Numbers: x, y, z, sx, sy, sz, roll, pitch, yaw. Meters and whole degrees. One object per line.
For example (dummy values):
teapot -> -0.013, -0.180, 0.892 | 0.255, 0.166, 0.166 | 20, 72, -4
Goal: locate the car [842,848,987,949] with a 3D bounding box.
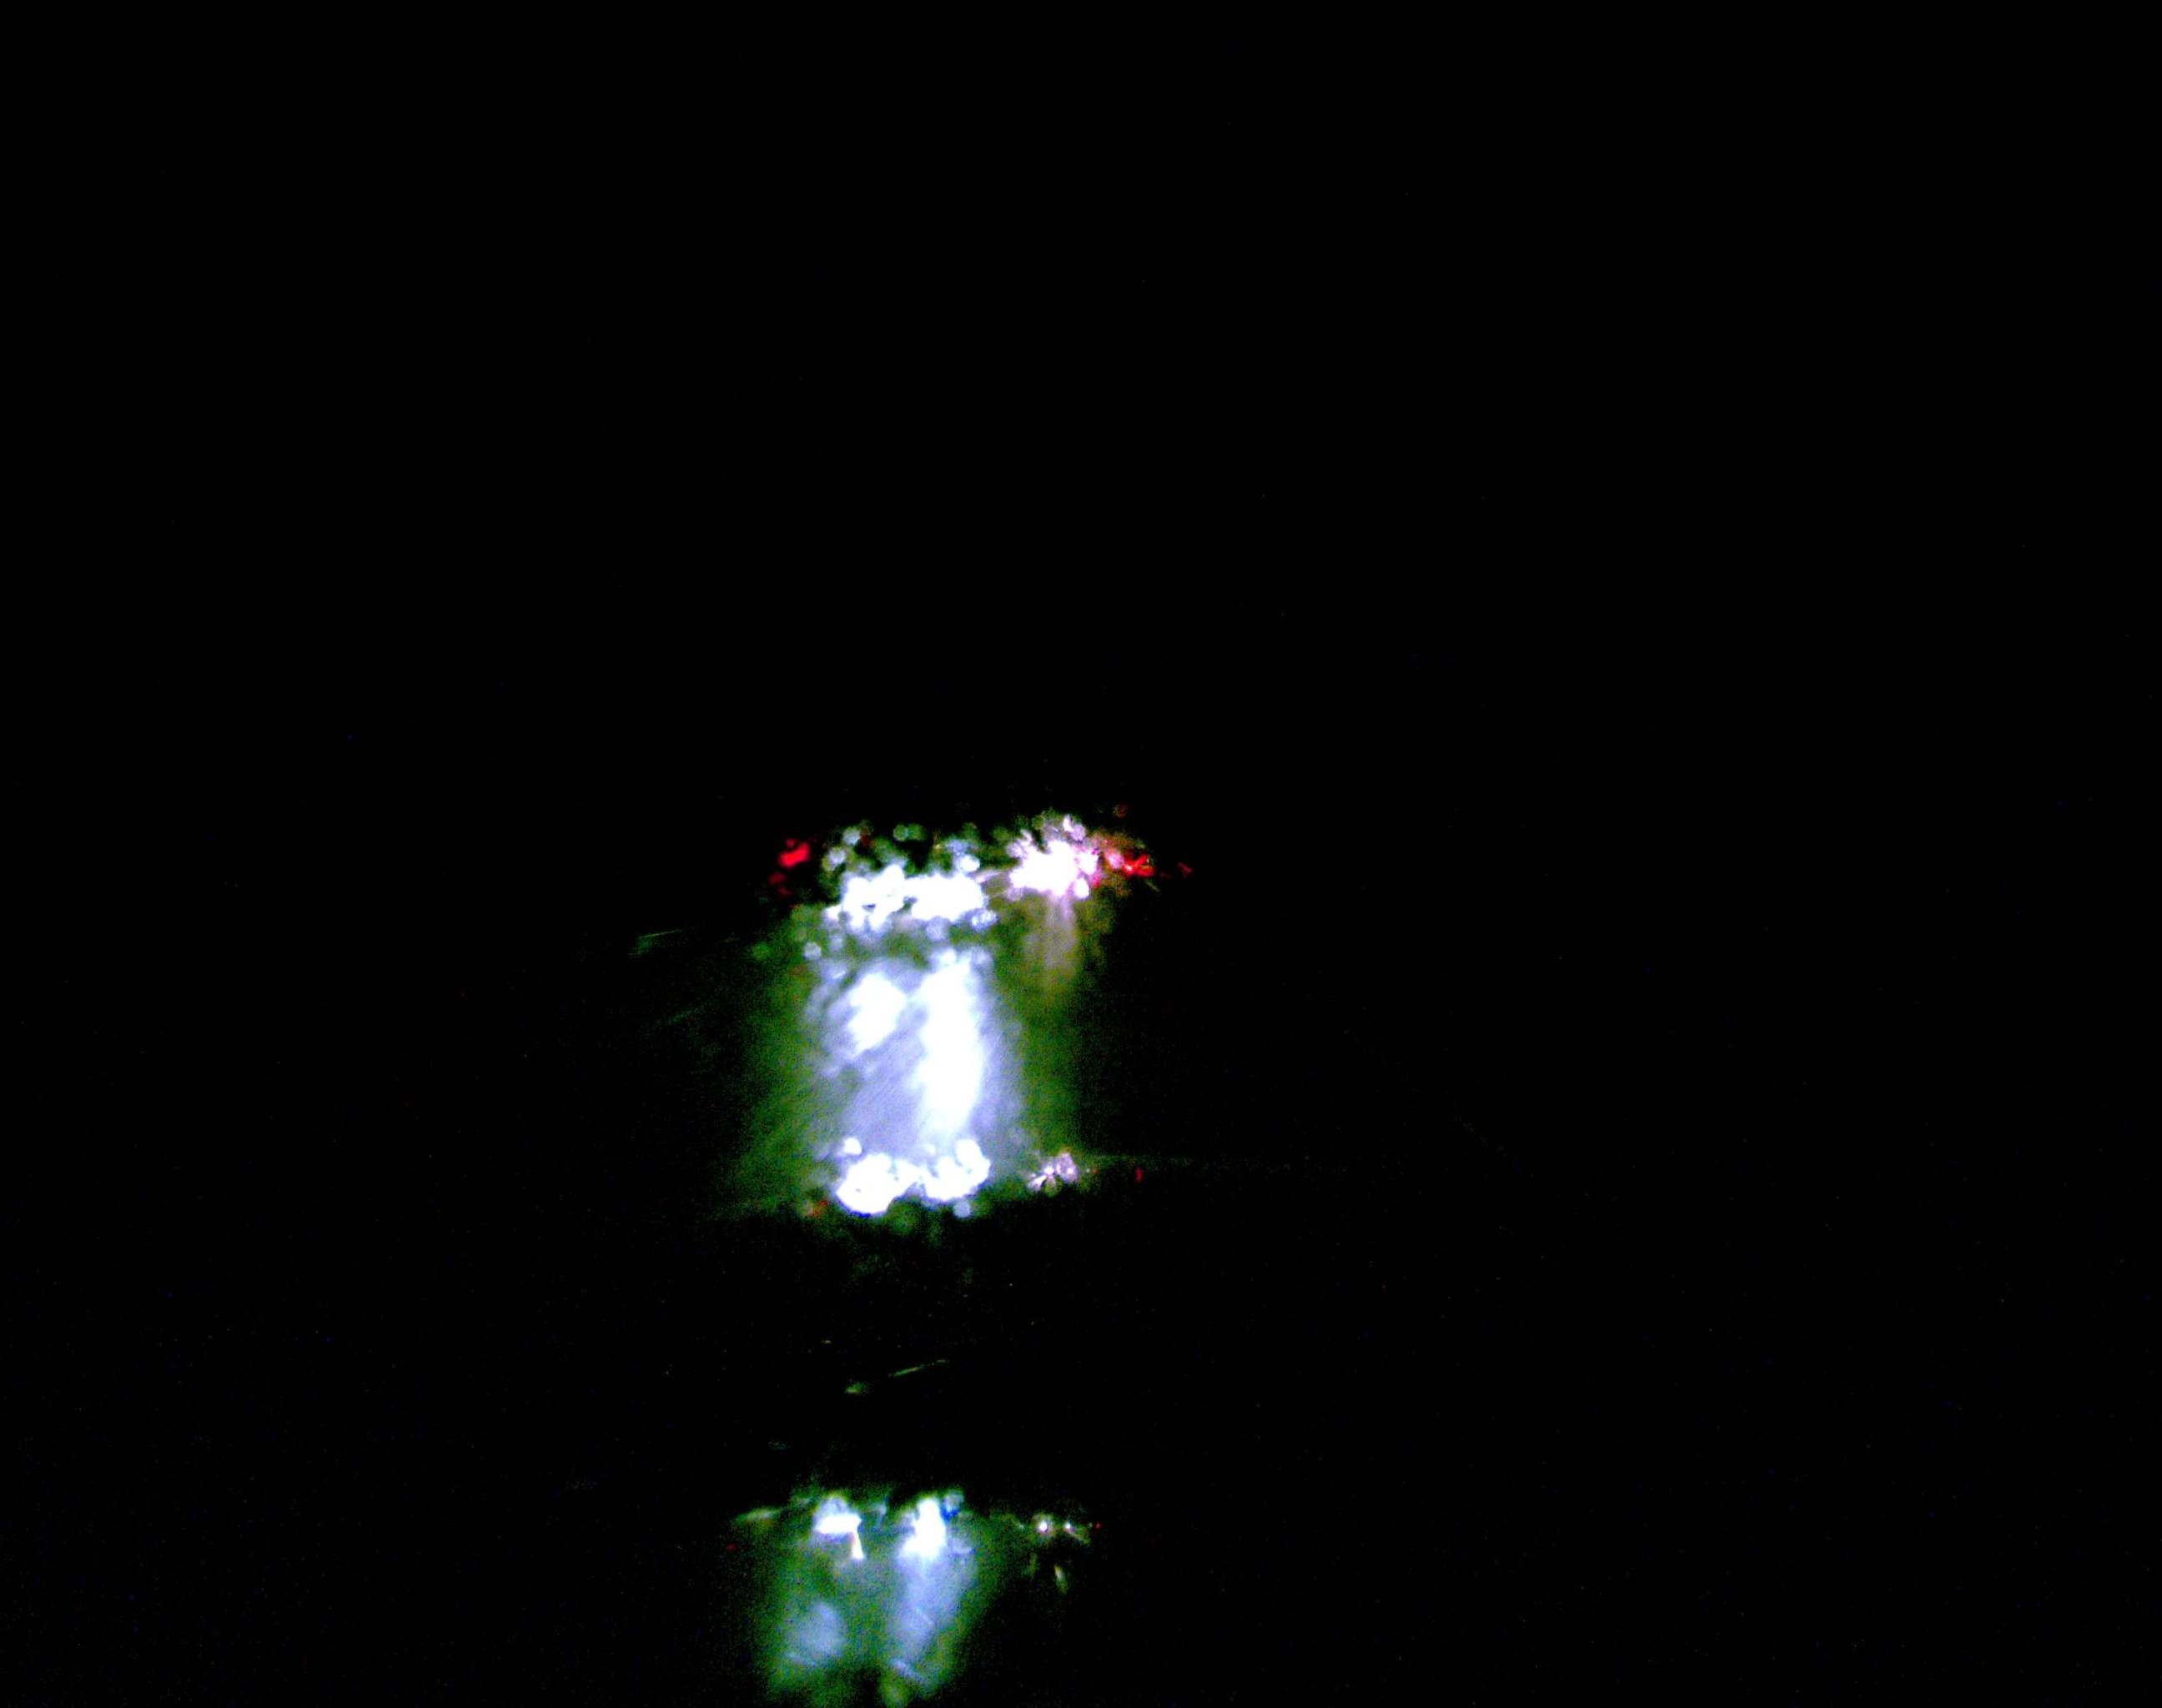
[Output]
car -> -3.122, 0.748, 16.196 | 1.798, 1.627, 4.407 | -4, 0, 1

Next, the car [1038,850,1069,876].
car -> -1.803, 0.563, 54.814 | 1.759, 1.519, 4.492 | -5, 0, 1

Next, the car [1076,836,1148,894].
car -> 1.198, 0.371, 30.686 | 2.448, 1.958, 4.915 | -1, 0, 2

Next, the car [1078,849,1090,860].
car -> 0.485, 0.035, 130.109 | 1.789, 1.538, 3.801 | -4, 0, 0
